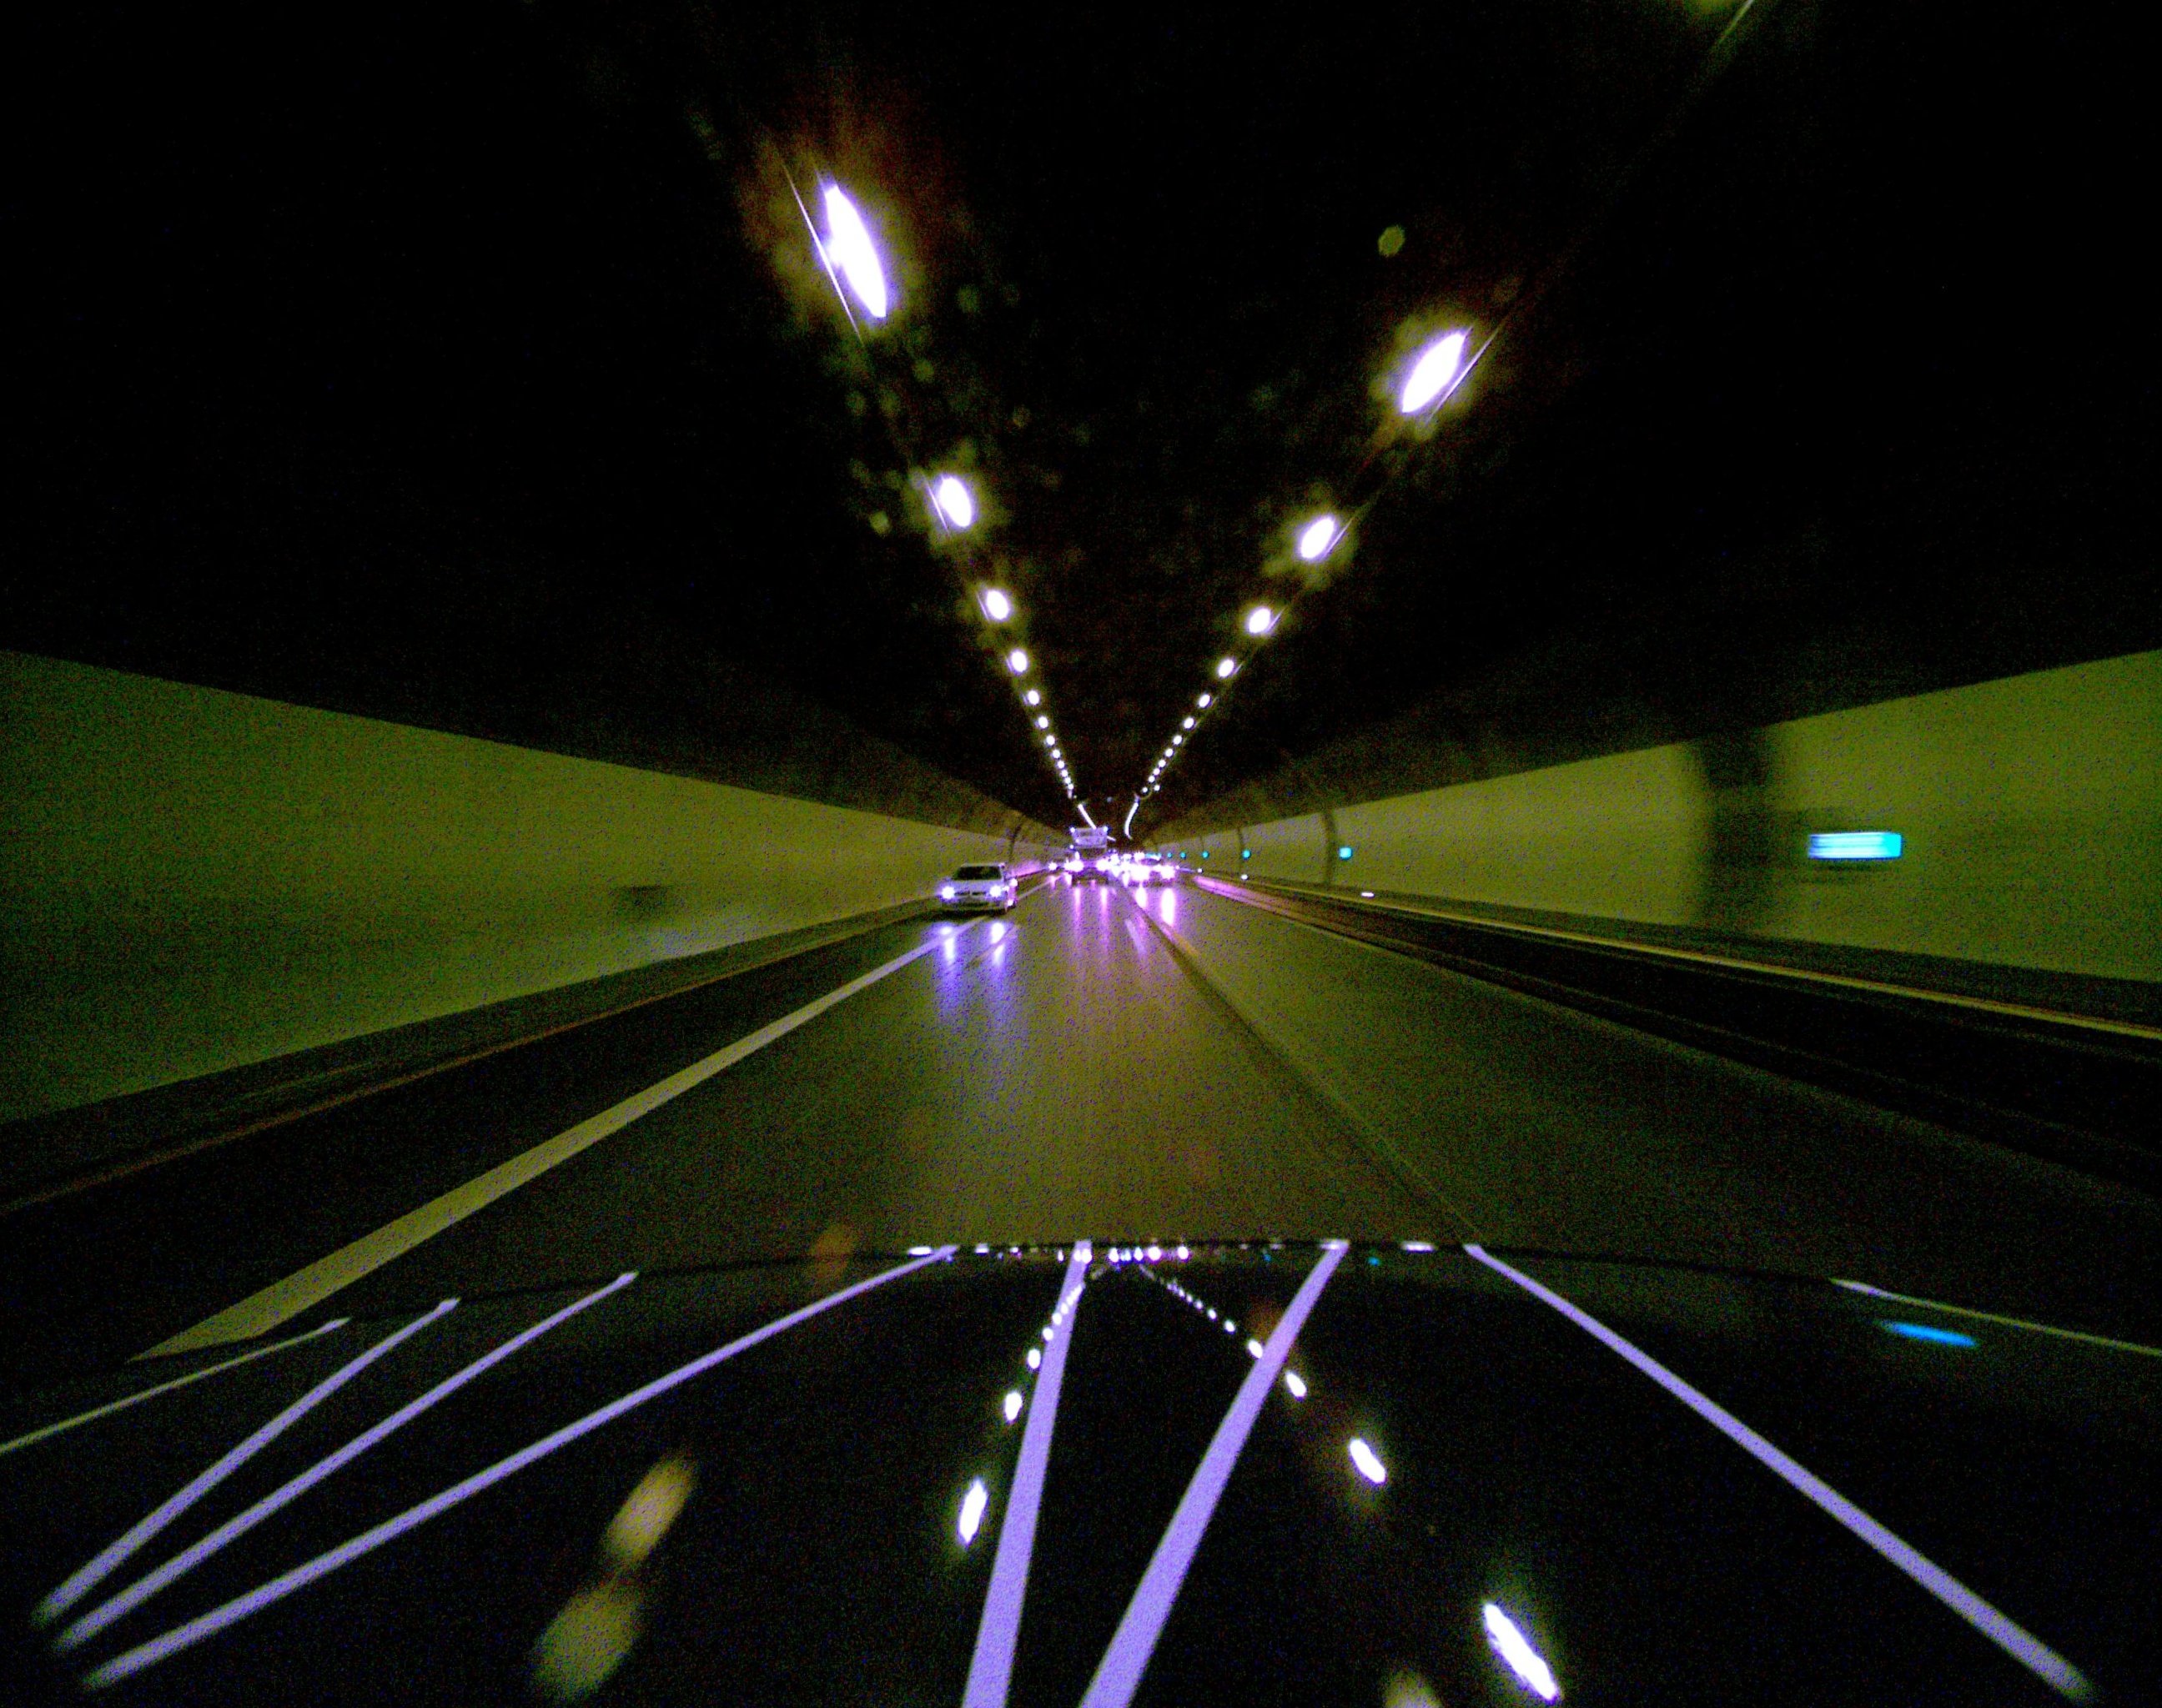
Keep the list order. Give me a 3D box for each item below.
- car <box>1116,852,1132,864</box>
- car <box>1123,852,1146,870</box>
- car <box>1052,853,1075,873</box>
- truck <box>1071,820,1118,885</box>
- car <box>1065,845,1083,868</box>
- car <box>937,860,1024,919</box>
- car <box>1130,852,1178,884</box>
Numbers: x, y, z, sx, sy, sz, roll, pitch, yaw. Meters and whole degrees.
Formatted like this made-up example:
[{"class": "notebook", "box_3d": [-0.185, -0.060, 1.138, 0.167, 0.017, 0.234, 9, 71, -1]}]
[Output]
[{"class": "car", "box_3d": [6.087, 0.527, 108.224, 1.958, 1.528, 4.757, -5, 1, 0]}, {"class": "car", "box_3d": [4.463, 0.598, 63.893, 1.657, 1.395, 3.656, -2, 1, 0]}, {"class": "car", "box_3d": [-1.536, 0.796, 68.702, 1.958, 1.528, 4.757, -3, 1, 0]}, {"class": "truck", "box_3d": [0.718, -0.119, 42.911, 2.262, 3.238, 7.382, -3, 1, 0]}, {"class": "car", "box_3d": [-0.843, 0.274, 98.082, 2.124, 2.629, 6.229, -3, 1, 0]}, {"class": "car", "box_3d": [-2.829, 0.976, 22.260, 1.801, 1.452, 4.035, -2, 0, 2]}, {"class": "car", "box_3d": [3.608, 0.663, 38.317, 1.908, 1.476, 4.943, -1, 0, 0]}]
